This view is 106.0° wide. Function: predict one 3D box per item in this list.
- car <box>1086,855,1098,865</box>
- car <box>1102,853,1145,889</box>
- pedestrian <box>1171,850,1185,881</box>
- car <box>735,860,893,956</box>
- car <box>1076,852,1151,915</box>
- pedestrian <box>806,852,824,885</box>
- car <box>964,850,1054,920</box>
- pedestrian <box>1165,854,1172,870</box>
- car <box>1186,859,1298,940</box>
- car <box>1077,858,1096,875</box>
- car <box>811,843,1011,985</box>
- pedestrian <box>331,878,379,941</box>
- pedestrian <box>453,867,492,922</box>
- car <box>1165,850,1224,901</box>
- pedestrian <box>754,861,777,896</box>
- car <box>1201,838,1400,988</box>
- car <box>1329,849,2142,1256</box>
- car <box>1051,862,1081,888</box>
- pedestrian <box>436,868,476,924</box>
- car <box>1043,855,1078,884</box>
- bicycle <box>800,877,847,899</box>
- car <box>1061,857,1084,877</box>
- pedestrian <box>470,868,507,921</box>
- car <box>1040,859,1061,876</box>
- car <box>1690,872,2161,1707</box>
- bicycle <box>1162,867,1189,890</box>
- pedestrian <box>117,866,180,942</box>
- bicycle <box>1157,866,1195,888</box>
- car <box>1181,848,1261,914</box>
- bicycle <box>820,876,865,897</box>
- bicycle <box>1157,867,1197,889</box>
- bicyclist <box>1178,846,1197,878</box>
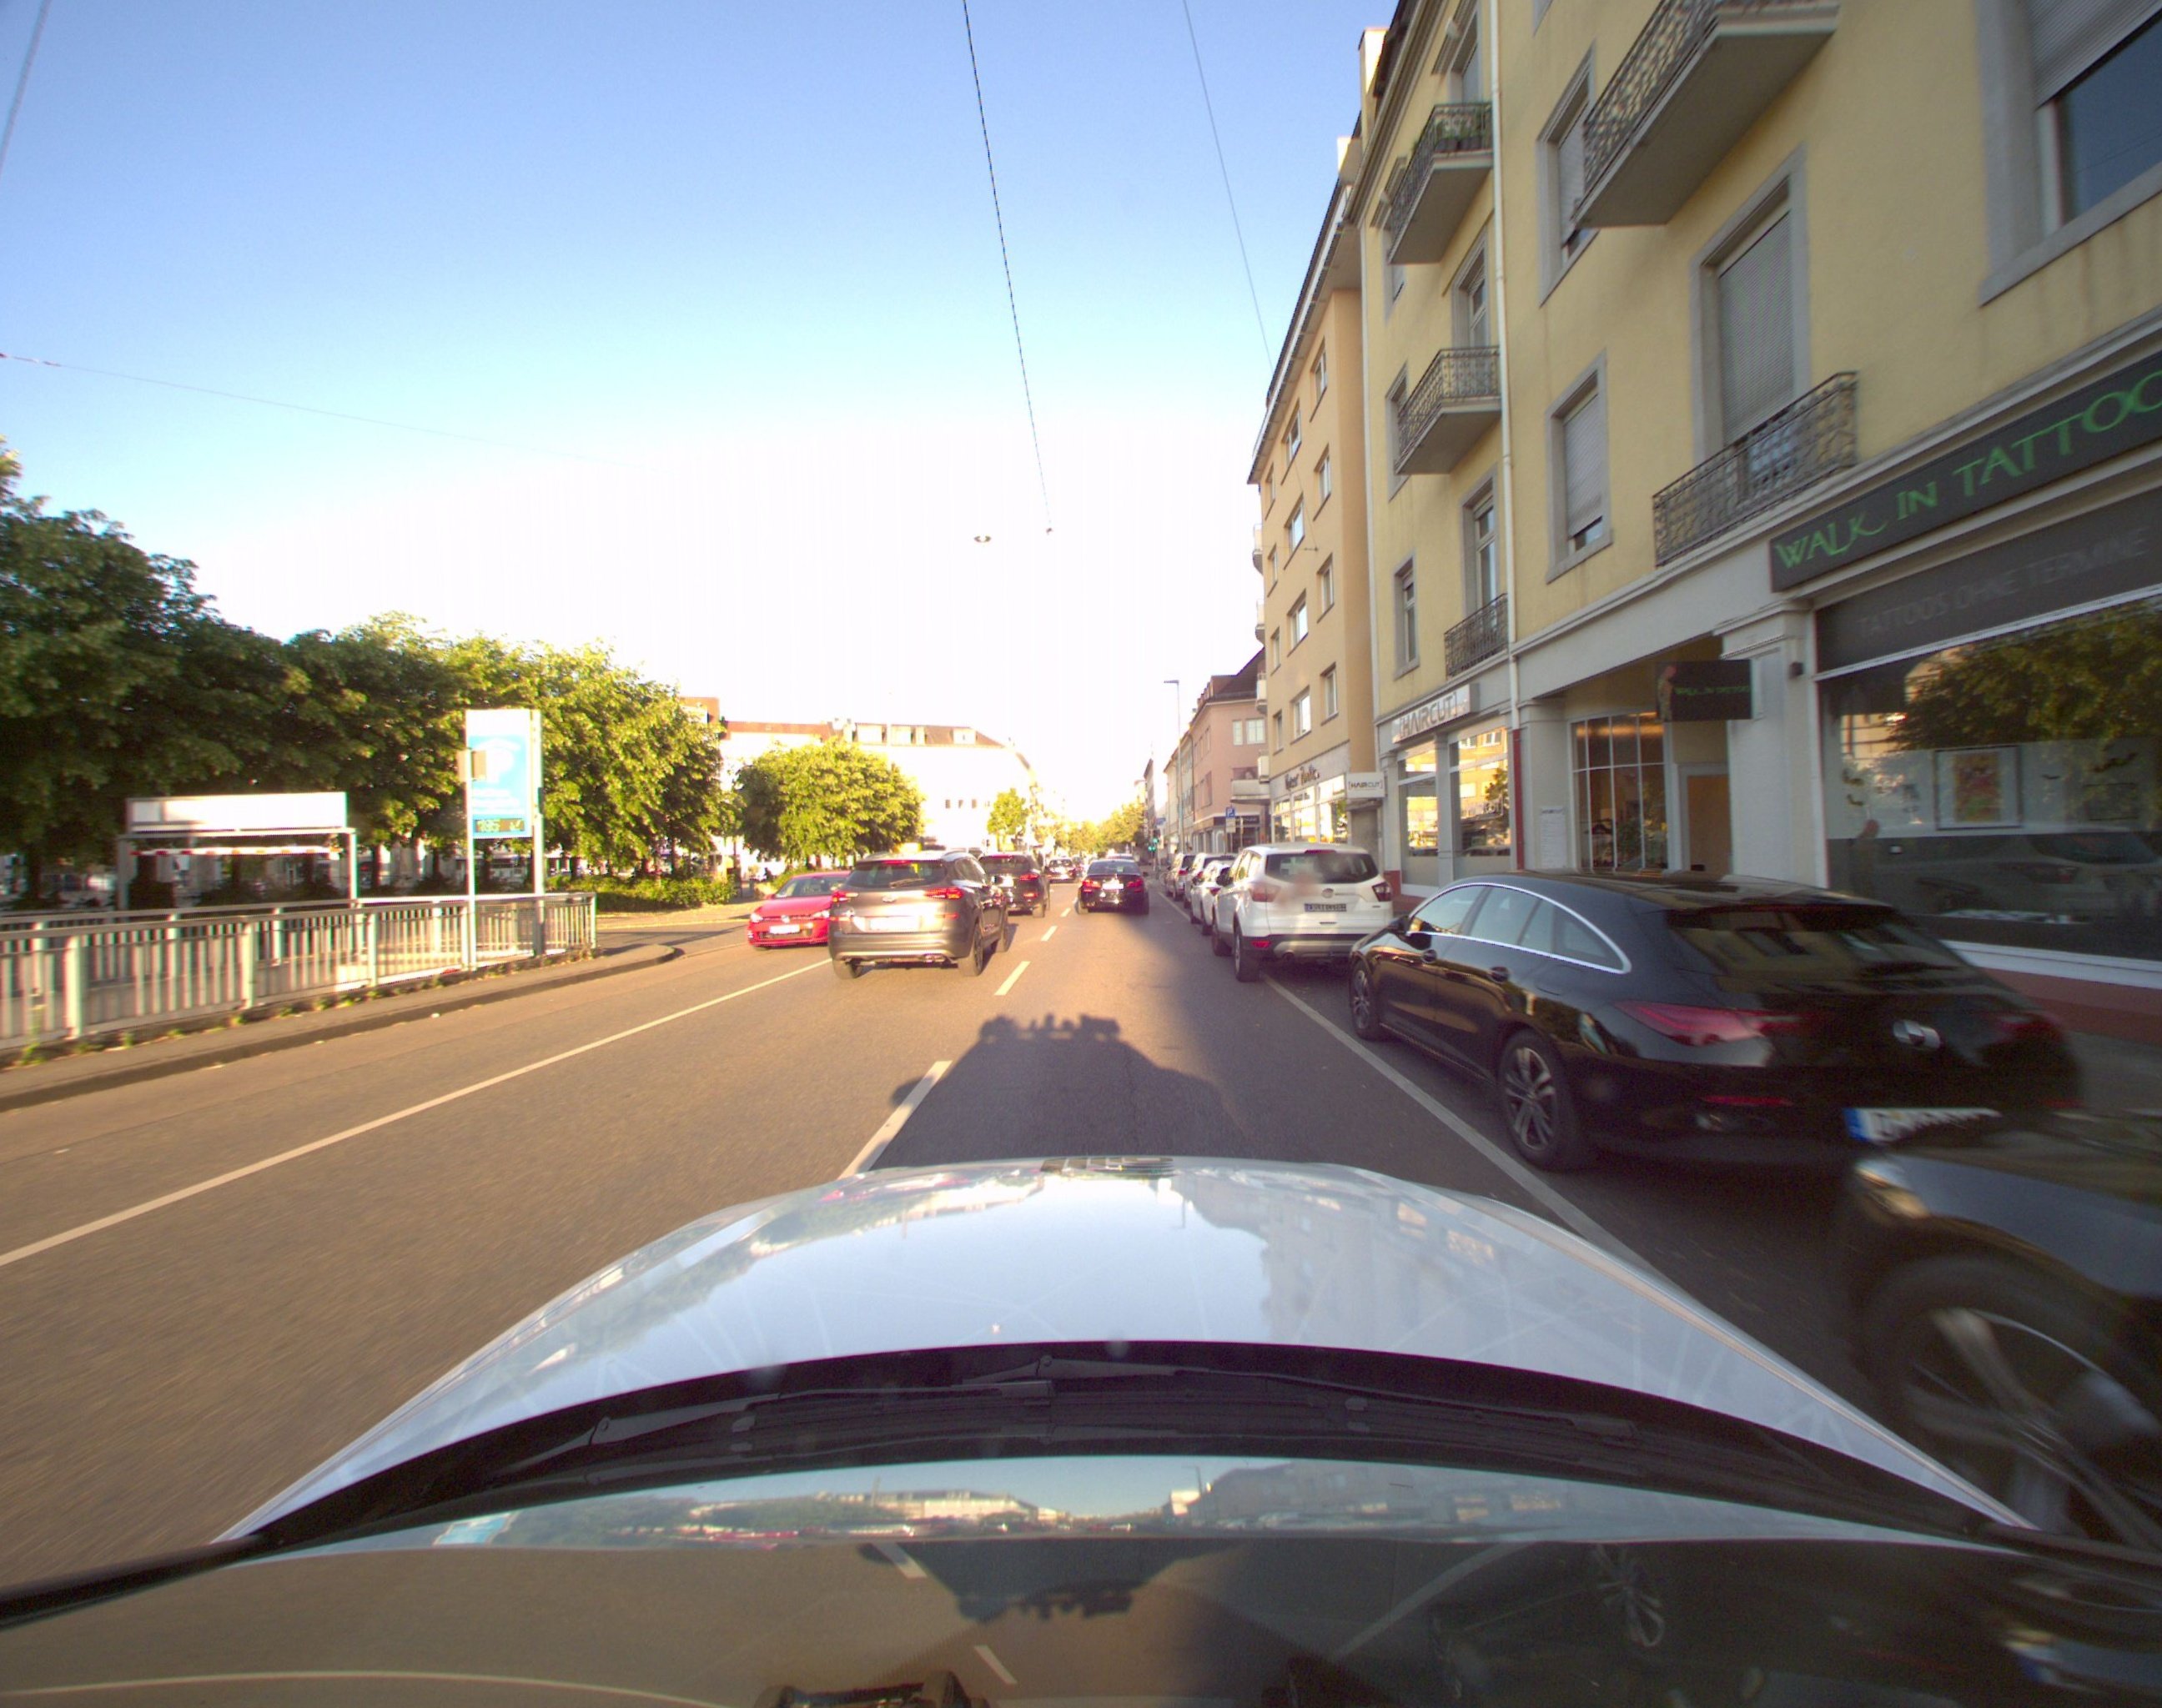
[{"bbox_3d":[1.827,0.976,133.632,1.773,1.547,4.001,-1,0,1],"label":"car"},{"bbox_3d":[1.920,0.767,37.922,1.890,1.581,4.001,0,0,1],"label":"car"},{"bbox_3d":[5.693,0.669,47.988,0.697,1.812,0.634,-1,0,-2],"label":"pedestrian"},{"bbox_3d":[-5.167,0.968,16.341,1.685,1.552,3.952,-4,0,2],"label":"car"},{"bbox_3d":[0.869,0.758,22.503,1.890,1.581,4.001,0,0,1],"label":"car"},{"bbox_3d":[-12.946,0.720,39.667,0.677,1.595,0.490,-1,0,21],"label":"pedestrian"},{"bbox_3d":[-1.792,0.759,21.562,1.890,1.649,4.105,-1,0,1],"label":"car"},{"bbox_3d":[8.414,0.729,78.683,0.629,1.534,0.702,-1,0,4],"label":"pedestrian"},{"bbox_3d":[3.186,0.846,16.883,1.722,1.450,4.315,0,-1,3],"label":"car"},{"bbox_3d":[0.574,1.167,78.204,1.773,1.547,4.001,-1,0,1],"label":"car"},{"bbox_3d":[-2.208,0.725,11.747,1.890,1.649,4.105,-1,0,1],"label":"car"},{"bbox_3d":[-19.000,1.431,21.324,0.672,1.595,0.680,-1,0,21],"label":"pedestrian"},{"bbox_3d":[-18.113,1.201,24.243,0.783,1.595,0.571,-1,0,21],"label":"pedestrian"},{"bbox_3d":[3.912,0.730,28.605,1.723,1.652,3.972,0,-1,3],"label":"car"},{"bbox_3d":[-14.508,1.124,37.485,0.783,1.595,0.571,-1,0,21],"label":"pedestrian"},{"bbox_3d":[2.738,0.677,11.132,1.723,1.651,4.286,0,-1,2],"label":"car"},{"bbox_3d":[3.031,0.741,5.183,1.723,1.448,4.476,0,-1,2],"label":"car"},{"bbox_3d":[-0.957,1.350,52.933,1.773,1.547,4.001,-1,0,1],"label":"car"},{"bbox_3d":[-18.038,1.200,23.516,0.783,1.595,0.571,-1,0,21],"label":"pedestrian"},{"bbox_3d":[-1.107,0.861,46.301,1.773,1.547,4.001,-1,0,1],"label":"car"},{"bbox_3d":[-10.781,1.430,34.129,1.820,0.853,0.483,1,-1,-2],"label":"bicycle"},{"bbox_3d":[-0.686,1.063,67.432,1.773,1.547,4.001,-1,0,1],"label":"car"},{"bbox_3d":[-18.375,1.253,25.269,0.783,1.595,0.571,-1,0,21],"label":"pedestrian"},{"bbox_3d":[-2.931,1.282,79.381,1.685,1.552,3.952,-4,0,2],"label":"car"},{"bbox_3d":[2.670,0.753,0.256,1.723,1.448,4.526,0,-1,2],"label":"car"},{"bbox_3d":[4.127,1.069,35.652,0.490,0.967,1.760,-1,0,-19],"label":"bicycle"},{"bbox_3d":[-20.021,1.055,17.489,0.672,1.595,0.680,-1,0,21],"label":"pedestrian"},{"bbox_3d":[4.476,1.083,38.471,1.756,0.967,0.491,-1,0,7],"label":"bicycle"},{"bbox_3d":[3.754,0.704,22.383,1.723,1.652,3.831,0,-1,2],"label":"car"},{"bbox_3d":[-10.497,1.441,35.926,1.820,0.853,0.483,1,-1,-2],"label":"bicycle"},{"bbox_3d":[4.353,1.087,36.986,1.749,0.967,0.493,-1,0,26],"label":"bicycle"},{"bbox_3d":[5.988,0.459,45.790,0.823,1.777,0.612,-1,-1,29],"label":"bicyclist"}]
